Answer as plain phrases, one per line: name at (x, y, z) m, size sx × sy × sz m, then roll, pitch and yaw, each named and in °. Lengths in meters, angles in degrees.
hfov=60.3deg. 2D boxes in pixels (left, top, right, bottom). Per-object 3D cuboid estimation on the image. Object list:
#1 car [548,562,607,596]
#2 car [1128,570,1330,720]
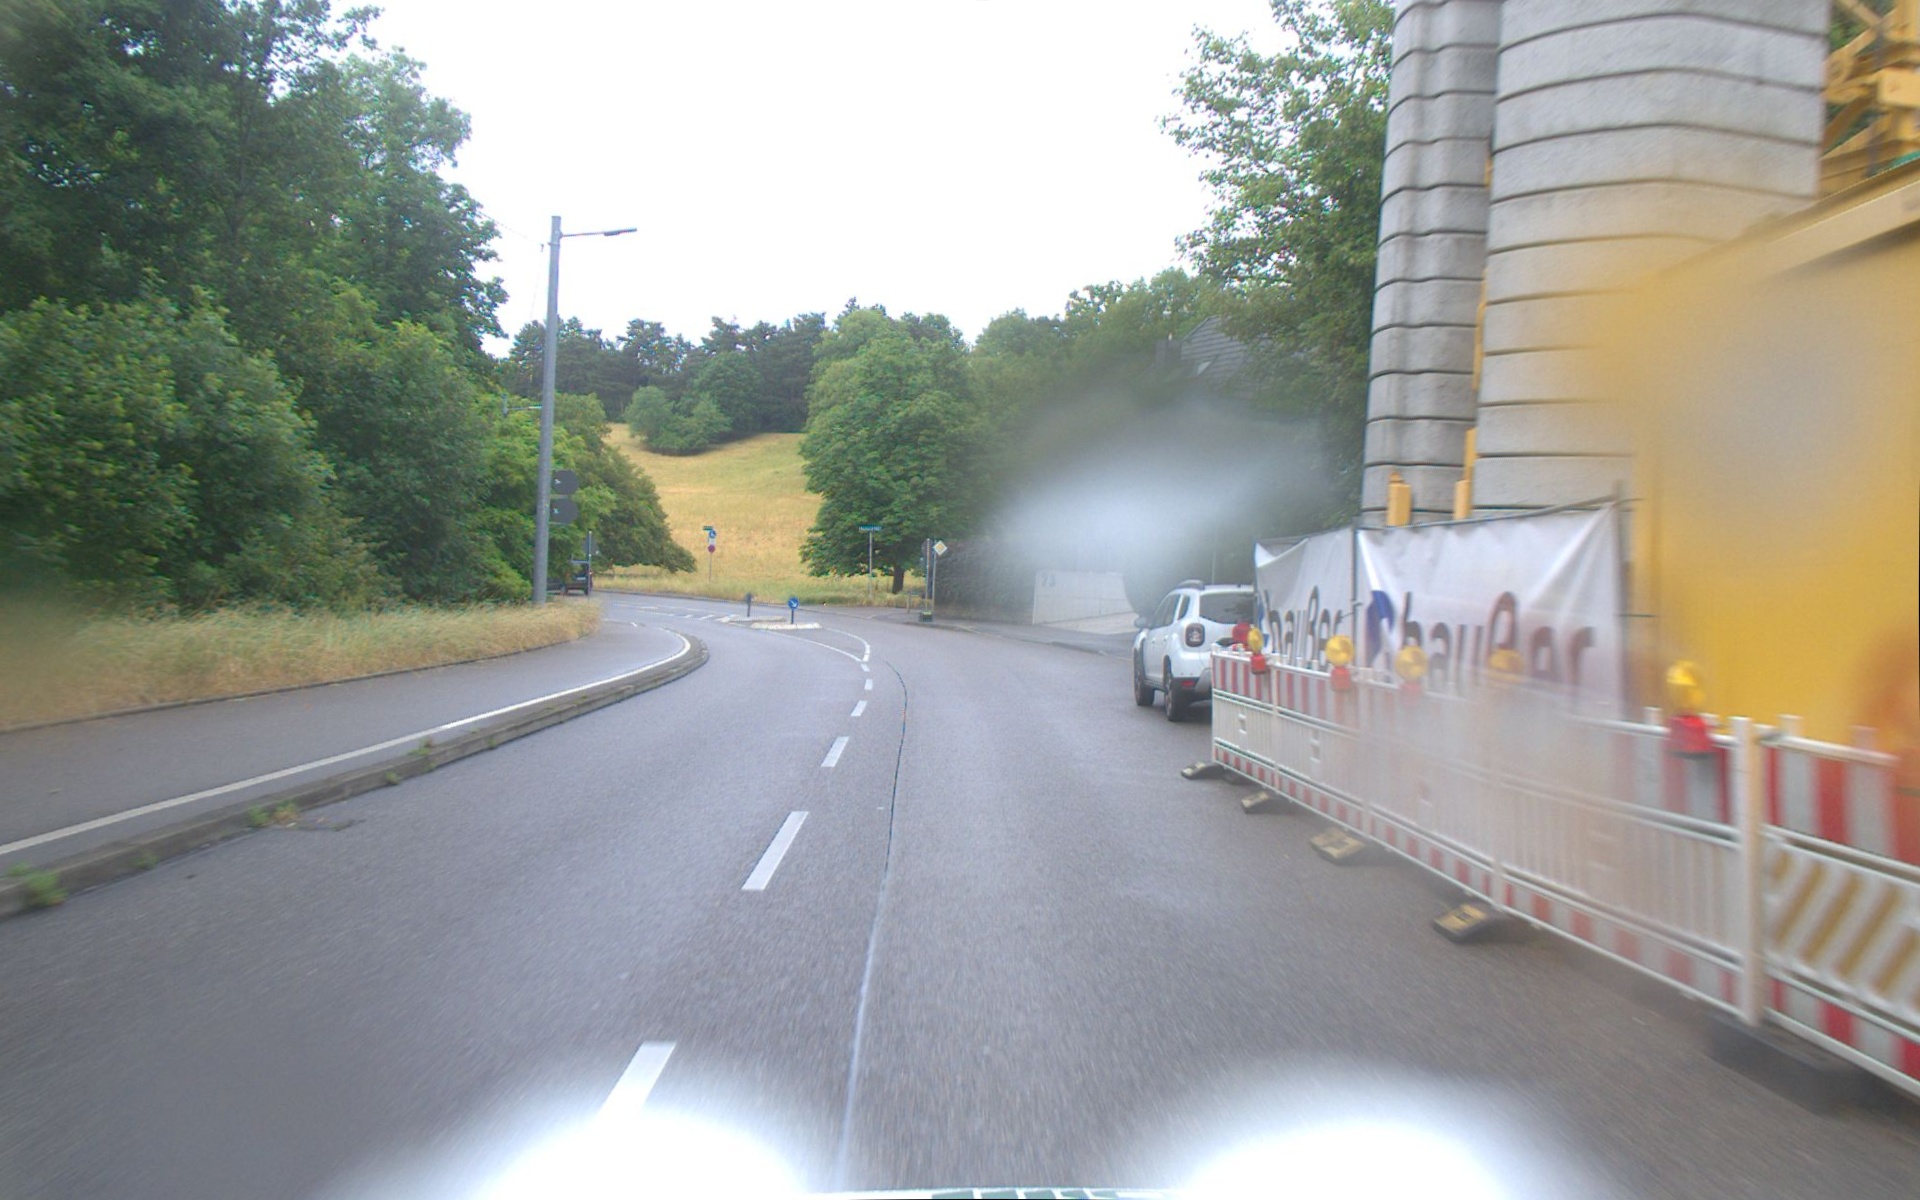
car at (-21.282, -1.190, 91.935) m, size 1.914 × 1.782 × 3.954 m, roll 2°, pitch 0°, yaw -33°
car at (3.348, 0.507, 21.409) m, size 1.710 × 1.735 × 4.500 m, roll 0°, pitch 0°, yaw -2°
